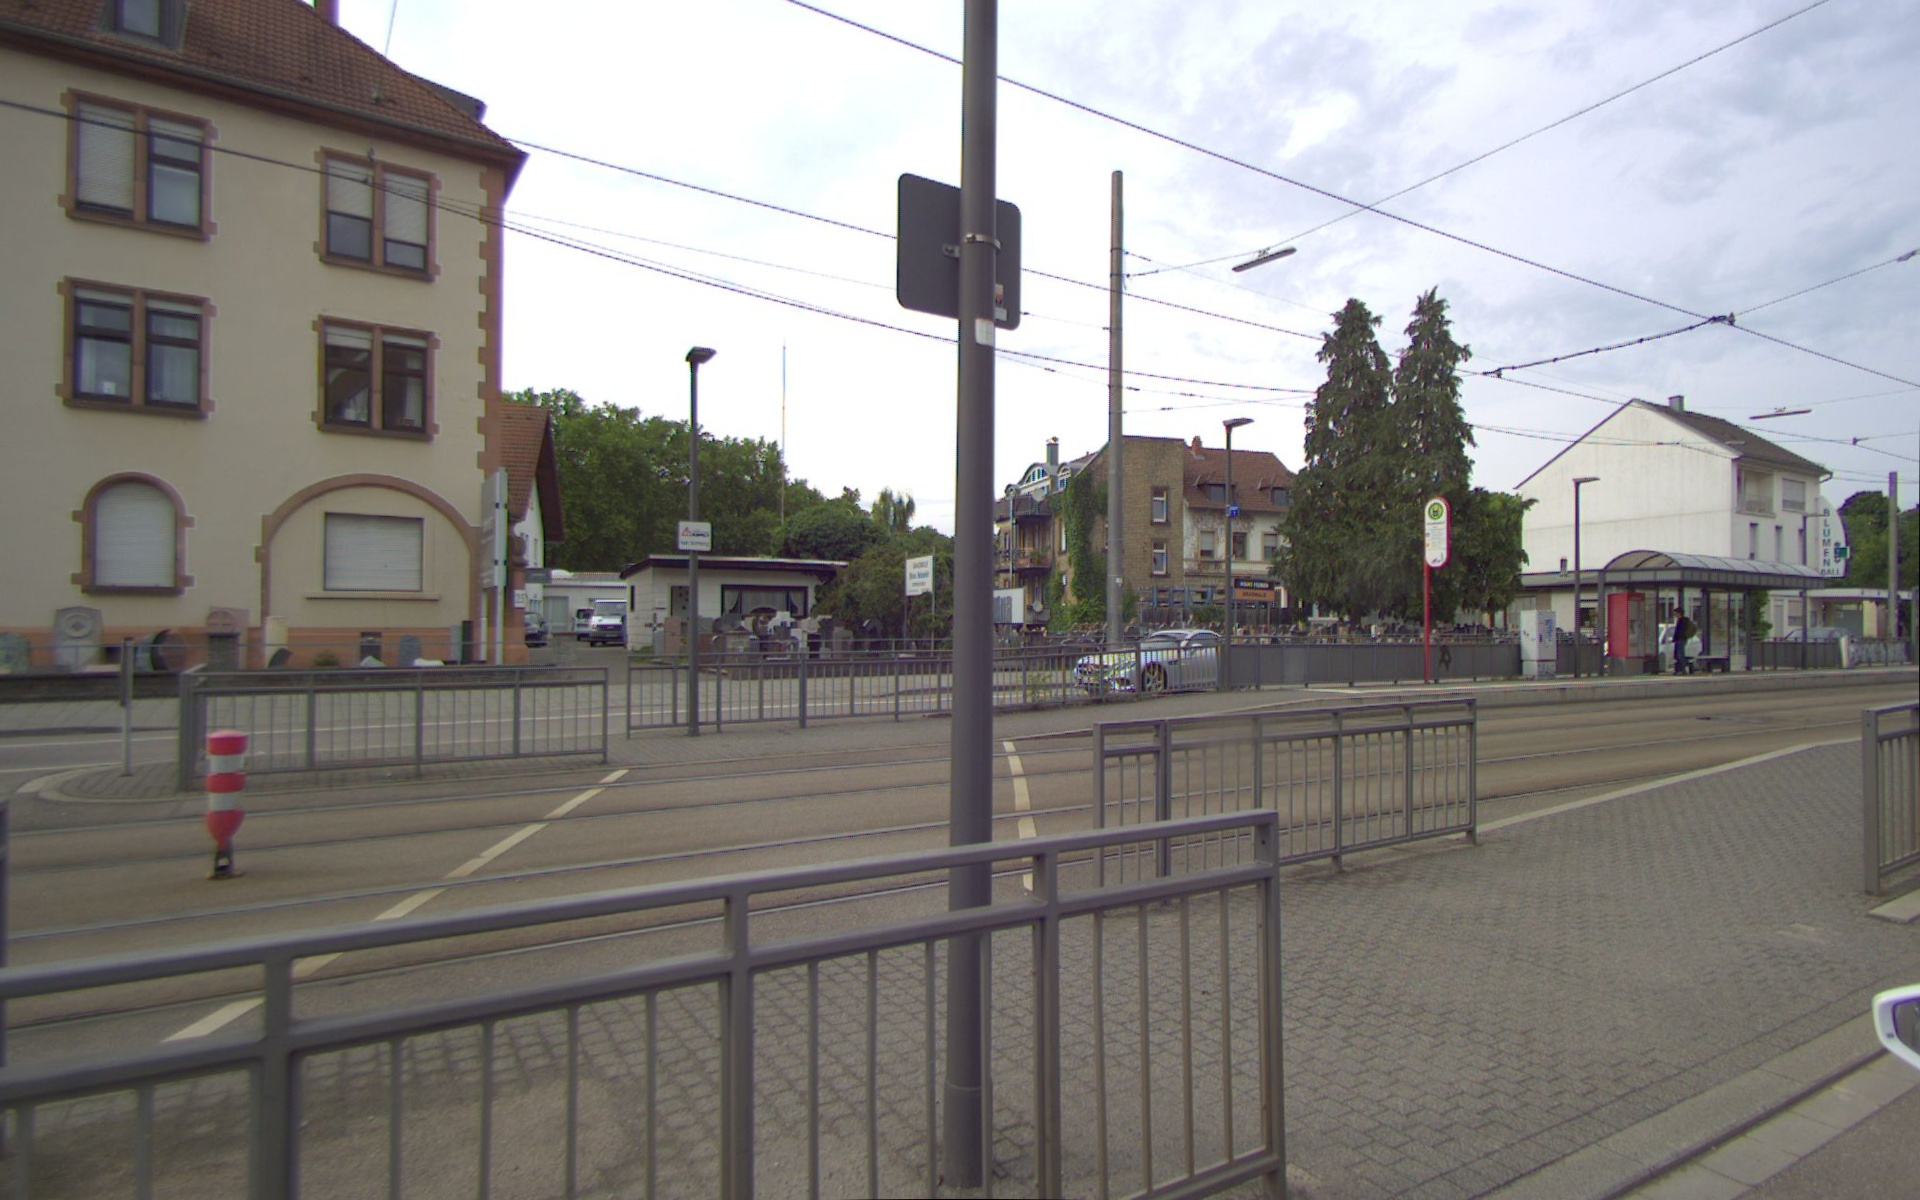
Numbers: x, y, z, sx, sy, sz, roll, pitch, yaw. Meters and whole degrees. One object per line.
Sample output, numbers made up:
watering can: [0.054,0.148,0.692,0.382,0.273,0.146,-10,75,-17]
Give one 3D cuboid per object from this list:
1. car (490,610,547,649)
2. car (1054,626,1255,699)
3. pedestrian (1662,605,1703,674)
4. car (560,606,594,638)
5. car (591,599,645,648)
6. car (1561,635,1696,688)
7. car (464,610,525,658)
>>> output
car: [-17.793,1.164,40.630,1.691,1.454,3.635,1,-1,-18]
car: [3.880,1.200,19.876,3.791,1.316,1.741,2,-2,-33]
pedestrian: [17.970,0.976,24.999,0.684,1.687,0.617,1,0,22]
car: [-19.878,1.137,52.231,1.510,1.578,3.714,1,-1,-20]
car: [-14.996,0.989,44.058,2.089,2.012,5.291,0,0,-19]
car: [20.449,1.855,30.707,3.953,1.505,1.856,1,-4,-30]
car: [-15.137,1.068,32.679,1.670,1.432,3.852,1,-1,-25]
